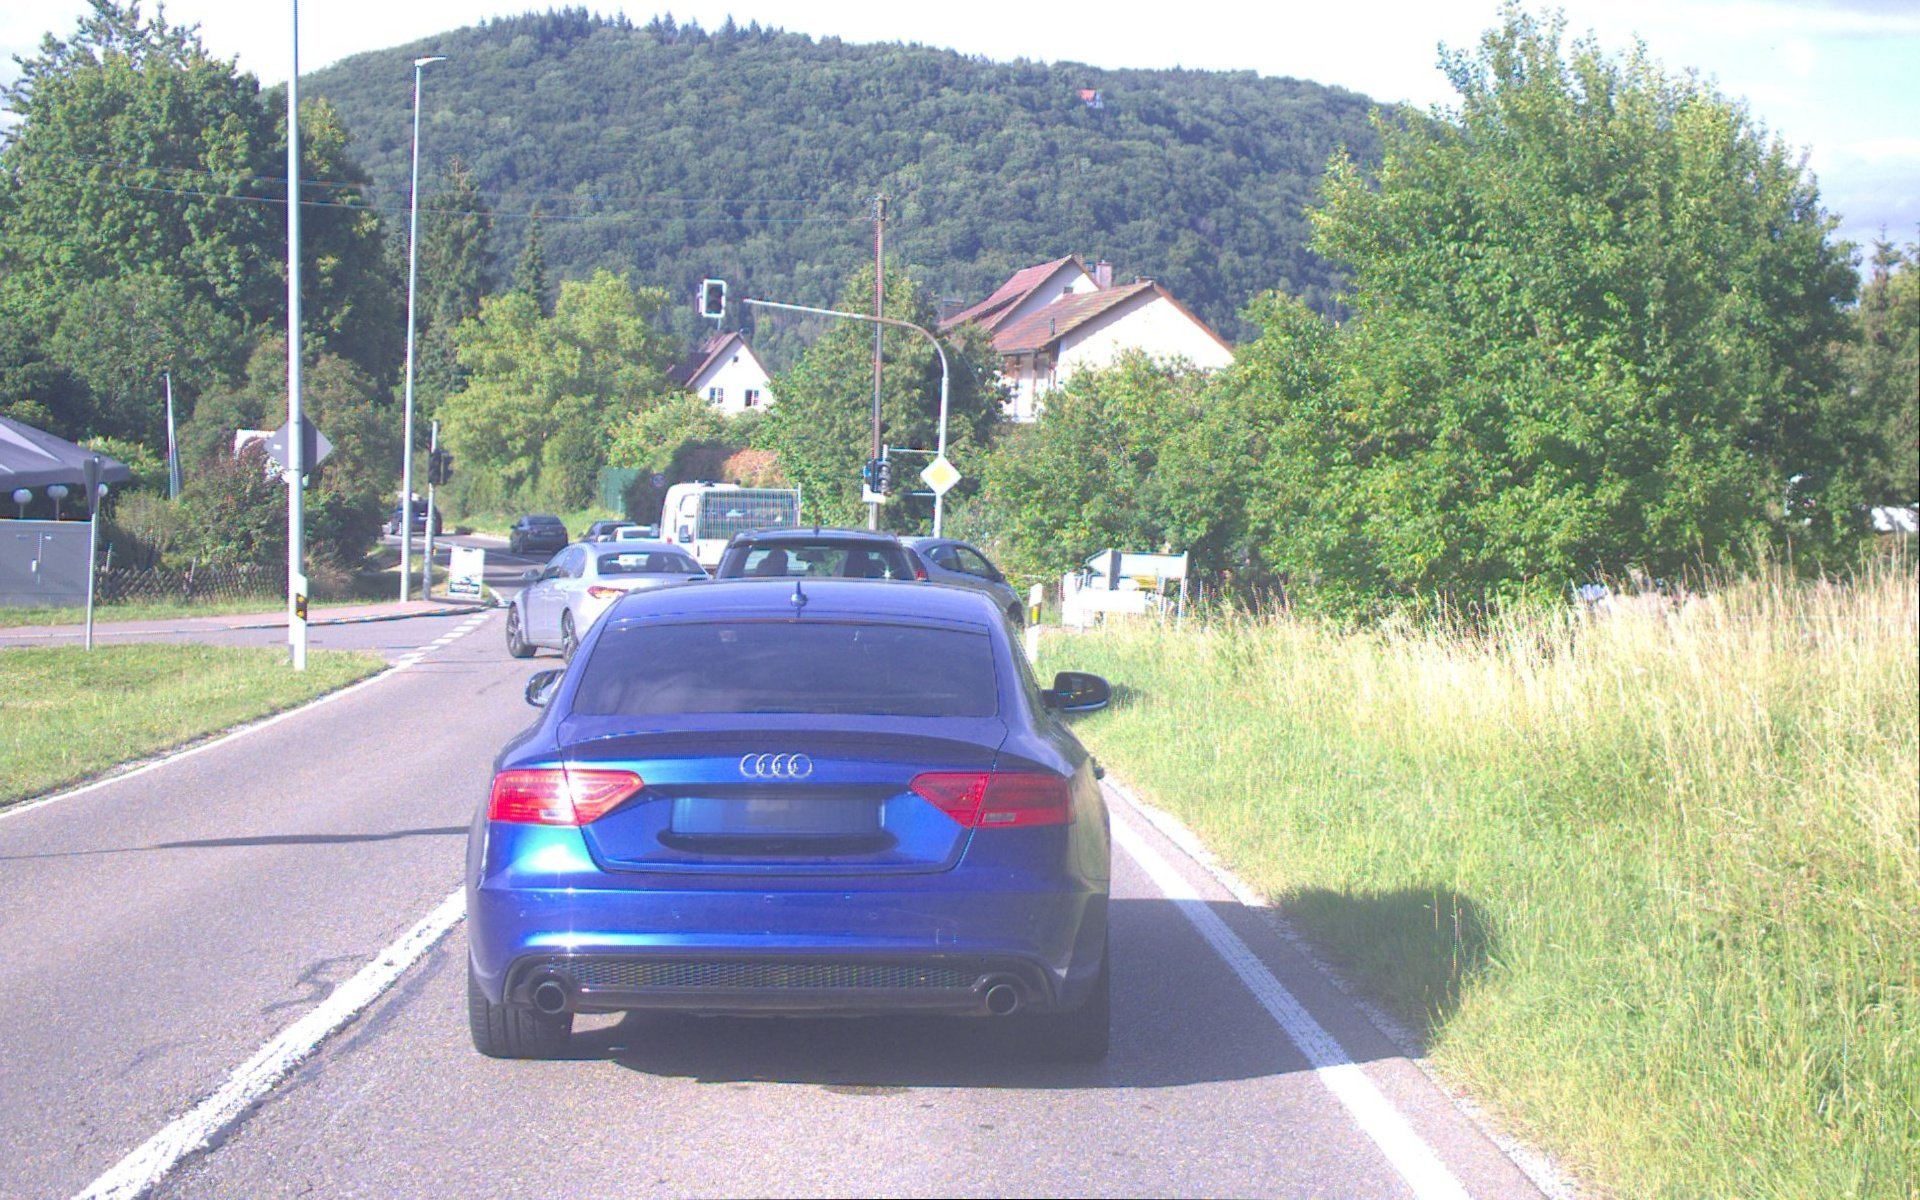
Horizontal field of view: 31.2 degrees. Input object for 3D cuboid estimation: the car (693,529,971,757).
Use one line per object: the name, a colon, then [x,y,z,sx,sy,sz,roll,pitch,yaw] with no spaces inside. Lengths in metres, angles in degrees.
car: [-0.931,0.300,27.084,1.746,1.634,3.999,1,0,4]

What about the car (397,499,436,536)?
car: [-24.722,-3.731,156.281,1.625,1.571,3.680,1,0,-10]

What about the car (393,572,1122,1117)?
car: [-0.432,0.610,10.808,1.795,1.383,3.999,0,0,4]

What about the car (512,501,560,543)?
car: [-15.620,-2.852,126.448,1.697,1.485,3.528,1,0,-7]

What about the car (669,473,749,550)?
car: [-5.694,-1.975,77.803,1.746,1.634,4.001,1,0,-5]

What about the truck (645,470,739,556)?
truck: [-6.512,-2.068,83.084,1.697,1.947,5.924,1,0,-10]

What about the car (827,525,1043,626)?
car: [-0.338,-0.366,52.425,1.627,1.472,3.725,1,0,29]

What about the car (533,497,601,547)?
car: [-12.360,-2.435,108.059,1.697,1.485,3.528,1,0,-13]

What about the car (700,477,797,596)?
car: [-4.084,-1.192,65.808,1.746,2.188,4.001,1,0,-5]

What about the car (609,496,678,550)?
car: [-9.161,-2.216,99.244,1.697,1.485,3.528,1,0,-10]

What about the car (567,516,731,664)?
car: [-3.665,-0.130,40.752,1.804,1.634,4.464,1,0,-5]
